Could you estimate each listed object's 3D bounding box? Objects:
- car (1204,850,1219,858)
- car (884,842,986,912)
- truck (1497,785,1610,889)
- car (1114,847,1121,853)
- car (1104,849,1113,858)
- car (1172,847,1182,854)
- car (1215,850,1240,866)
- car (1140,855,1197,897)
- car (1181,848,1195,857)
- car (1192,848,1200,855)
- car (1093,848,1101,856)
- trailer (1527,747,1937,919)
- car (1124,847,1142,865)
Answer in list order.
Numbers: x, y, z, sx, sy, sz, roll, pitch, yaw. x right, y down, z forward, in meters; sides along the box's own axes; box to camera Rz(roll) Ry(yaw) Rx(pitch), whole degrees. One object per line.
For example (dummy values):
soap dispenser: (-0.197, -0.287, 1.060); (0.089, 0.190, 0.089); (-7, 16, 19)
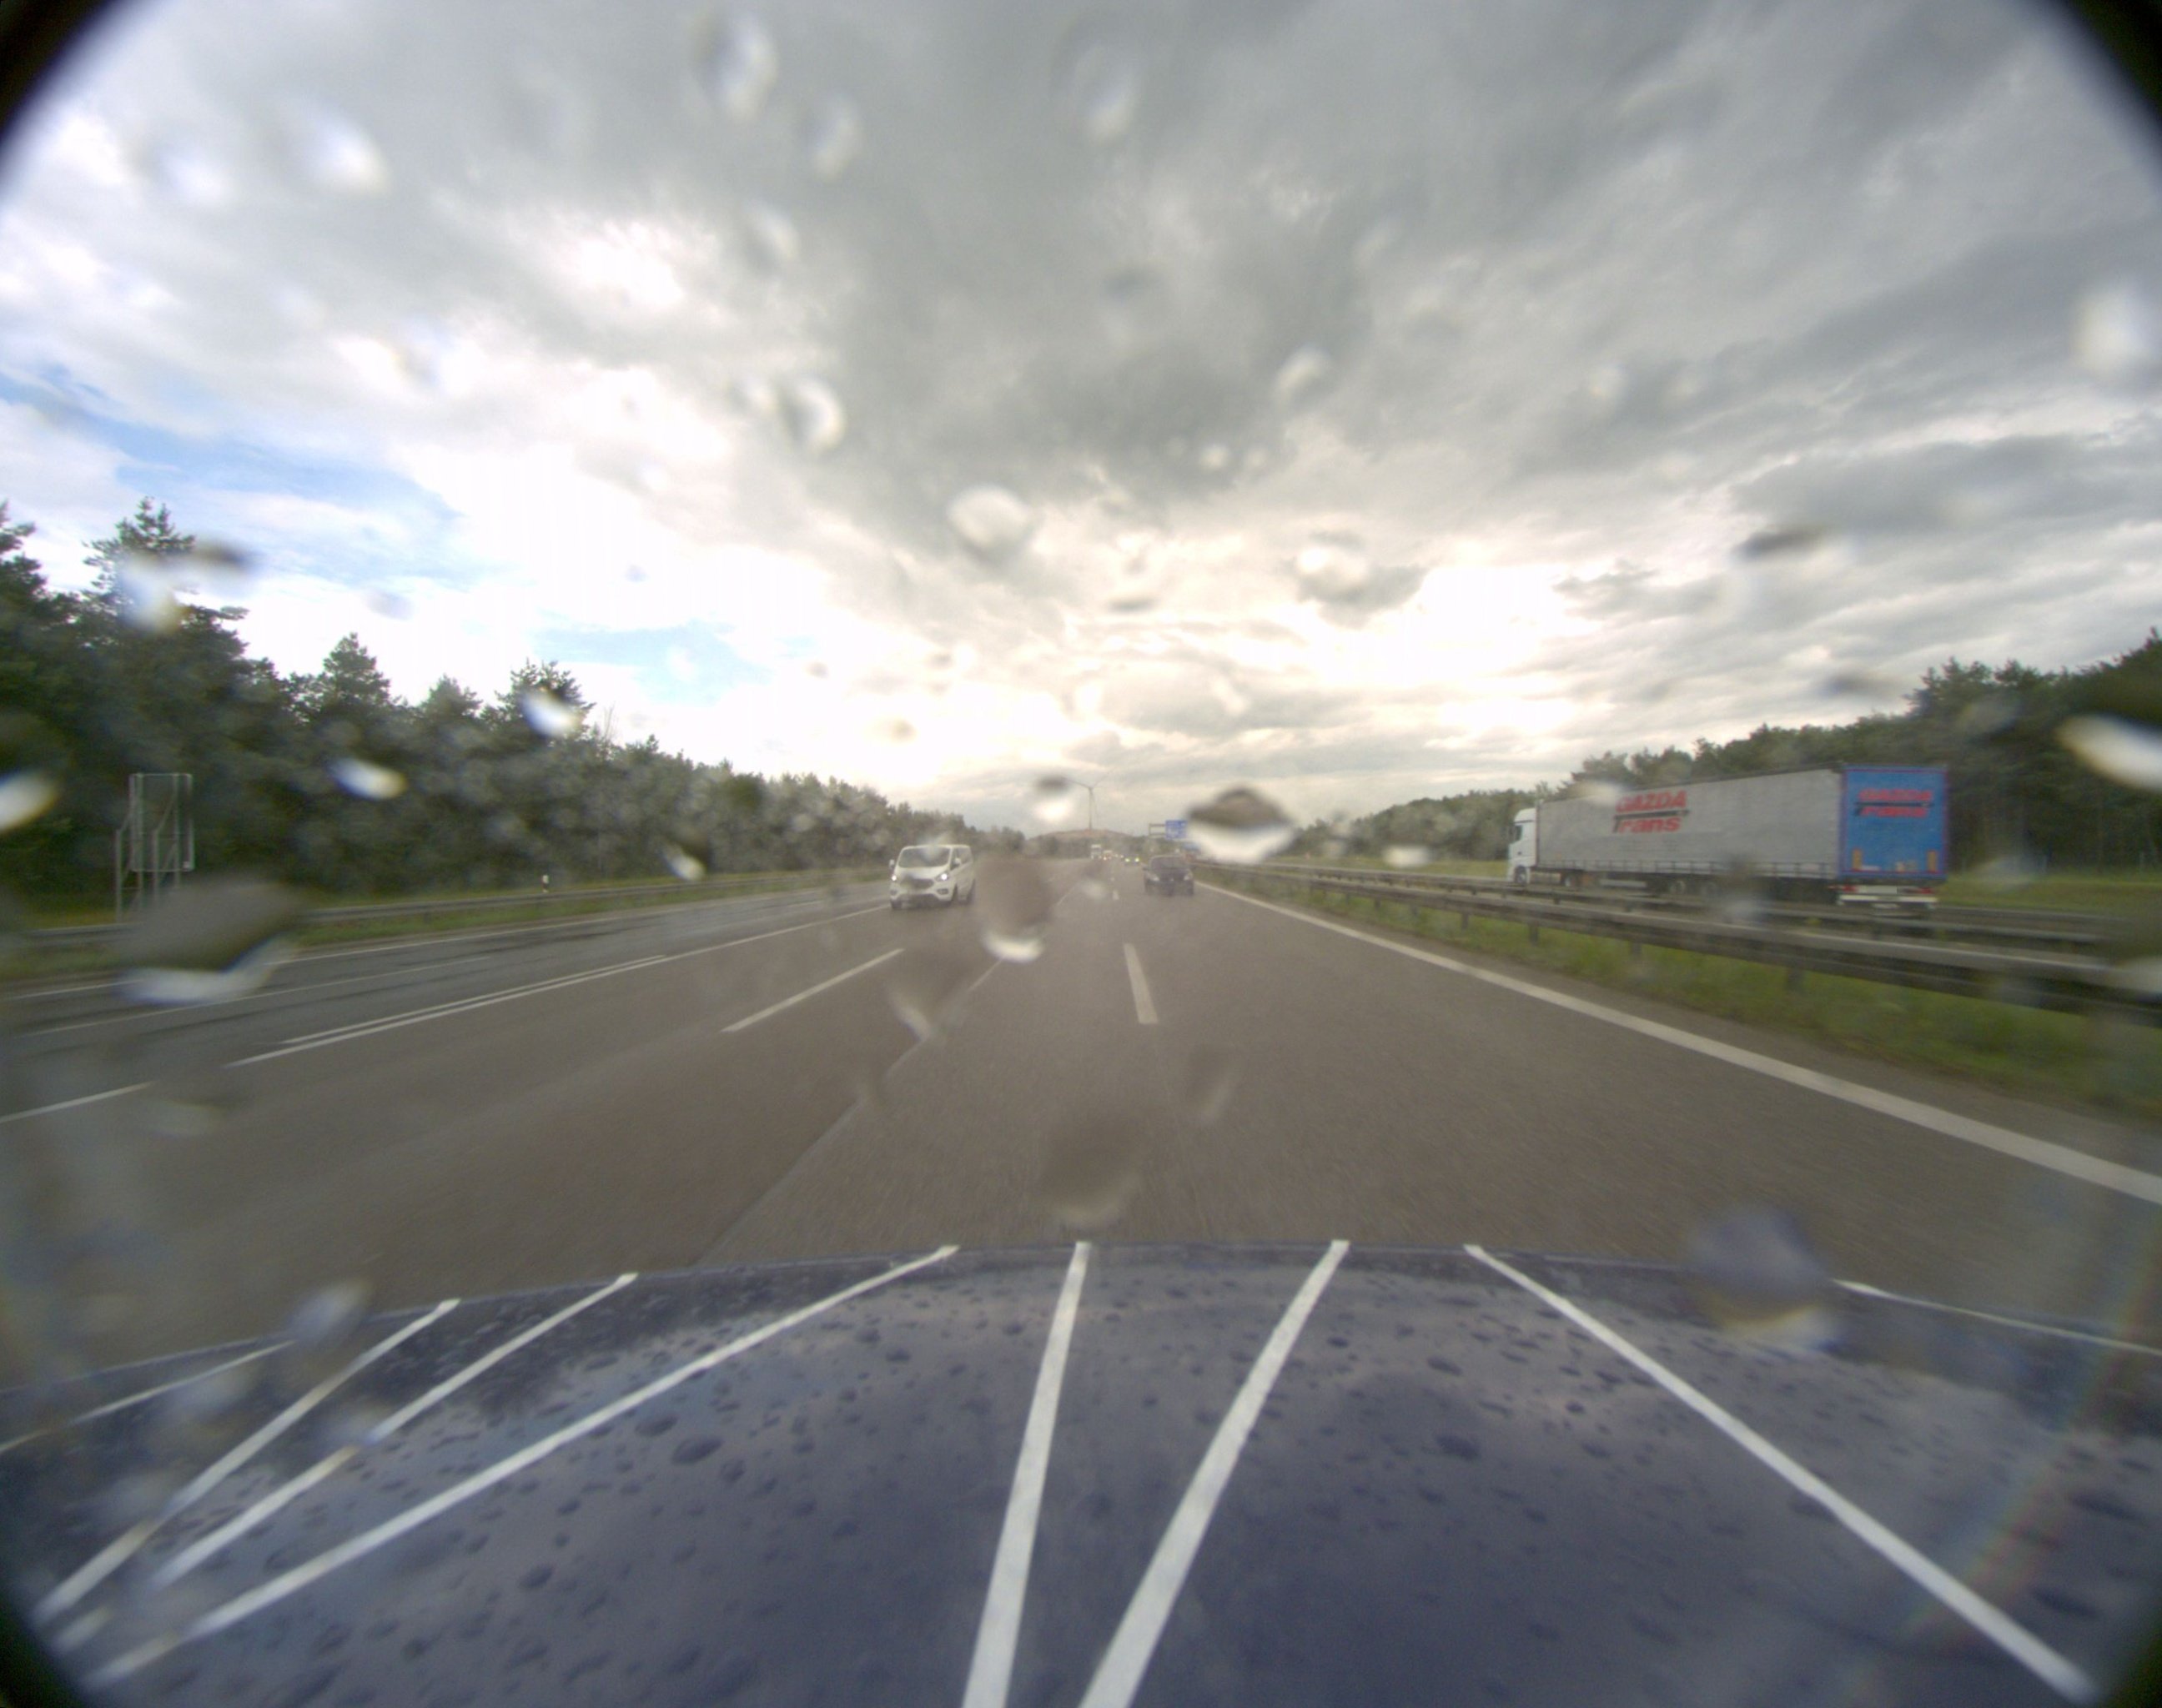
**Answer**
car: (22.163, -0.013, 128.787); (1.920, 1.448, 4.652); (-1, 0, 2)
car: (-4.711, 0.673, 25.502); (1.998, 2.002, 5.483); (-2, 0, 3)
truck: (20.920, -0.717, 33.913); (2.144, 4.213, 4.707); (-3, 1, 3)
car: (11.099, -1.257, 232.586); (1.998, 2.002, 3.999); (-1, 1, 1)
car: (6.438, -0.161, 175.689); (1.998, 2.002, 3.999); (-1, 1, 1)
car: (22.961, -0.860, 181.629); (1.998, 1.463, 4.117); (-3, 1, 5)
car: (16.194, 0.397, 84.089); (1.864, 1.652, 4.472); (-1, 0, 0)
car: (3.179, 0.761, 28.338); (1.809, 1.321, 4.431); (-2, 1, 4)
car: (18.058, -0.239, 128.185); (1.920, 1.357, 4.652); (-1, 0, 2)
car: (26.661, -0.551, 176.030); (1.641, 1.463, 4.402); (-1, 1, 5)
car: (4.070, -0.436, 194.846); (1.998, 2.002, 3.999); (-1, 1, 1)
trailer: (20.624, -0.626, 26.370); (2.103, 4.216, 14.625); (-3, 1, 2)
car: (6.319, 0.229, 93.054); (1.998, 2.002, 4.000); (-2, 1, 3)
